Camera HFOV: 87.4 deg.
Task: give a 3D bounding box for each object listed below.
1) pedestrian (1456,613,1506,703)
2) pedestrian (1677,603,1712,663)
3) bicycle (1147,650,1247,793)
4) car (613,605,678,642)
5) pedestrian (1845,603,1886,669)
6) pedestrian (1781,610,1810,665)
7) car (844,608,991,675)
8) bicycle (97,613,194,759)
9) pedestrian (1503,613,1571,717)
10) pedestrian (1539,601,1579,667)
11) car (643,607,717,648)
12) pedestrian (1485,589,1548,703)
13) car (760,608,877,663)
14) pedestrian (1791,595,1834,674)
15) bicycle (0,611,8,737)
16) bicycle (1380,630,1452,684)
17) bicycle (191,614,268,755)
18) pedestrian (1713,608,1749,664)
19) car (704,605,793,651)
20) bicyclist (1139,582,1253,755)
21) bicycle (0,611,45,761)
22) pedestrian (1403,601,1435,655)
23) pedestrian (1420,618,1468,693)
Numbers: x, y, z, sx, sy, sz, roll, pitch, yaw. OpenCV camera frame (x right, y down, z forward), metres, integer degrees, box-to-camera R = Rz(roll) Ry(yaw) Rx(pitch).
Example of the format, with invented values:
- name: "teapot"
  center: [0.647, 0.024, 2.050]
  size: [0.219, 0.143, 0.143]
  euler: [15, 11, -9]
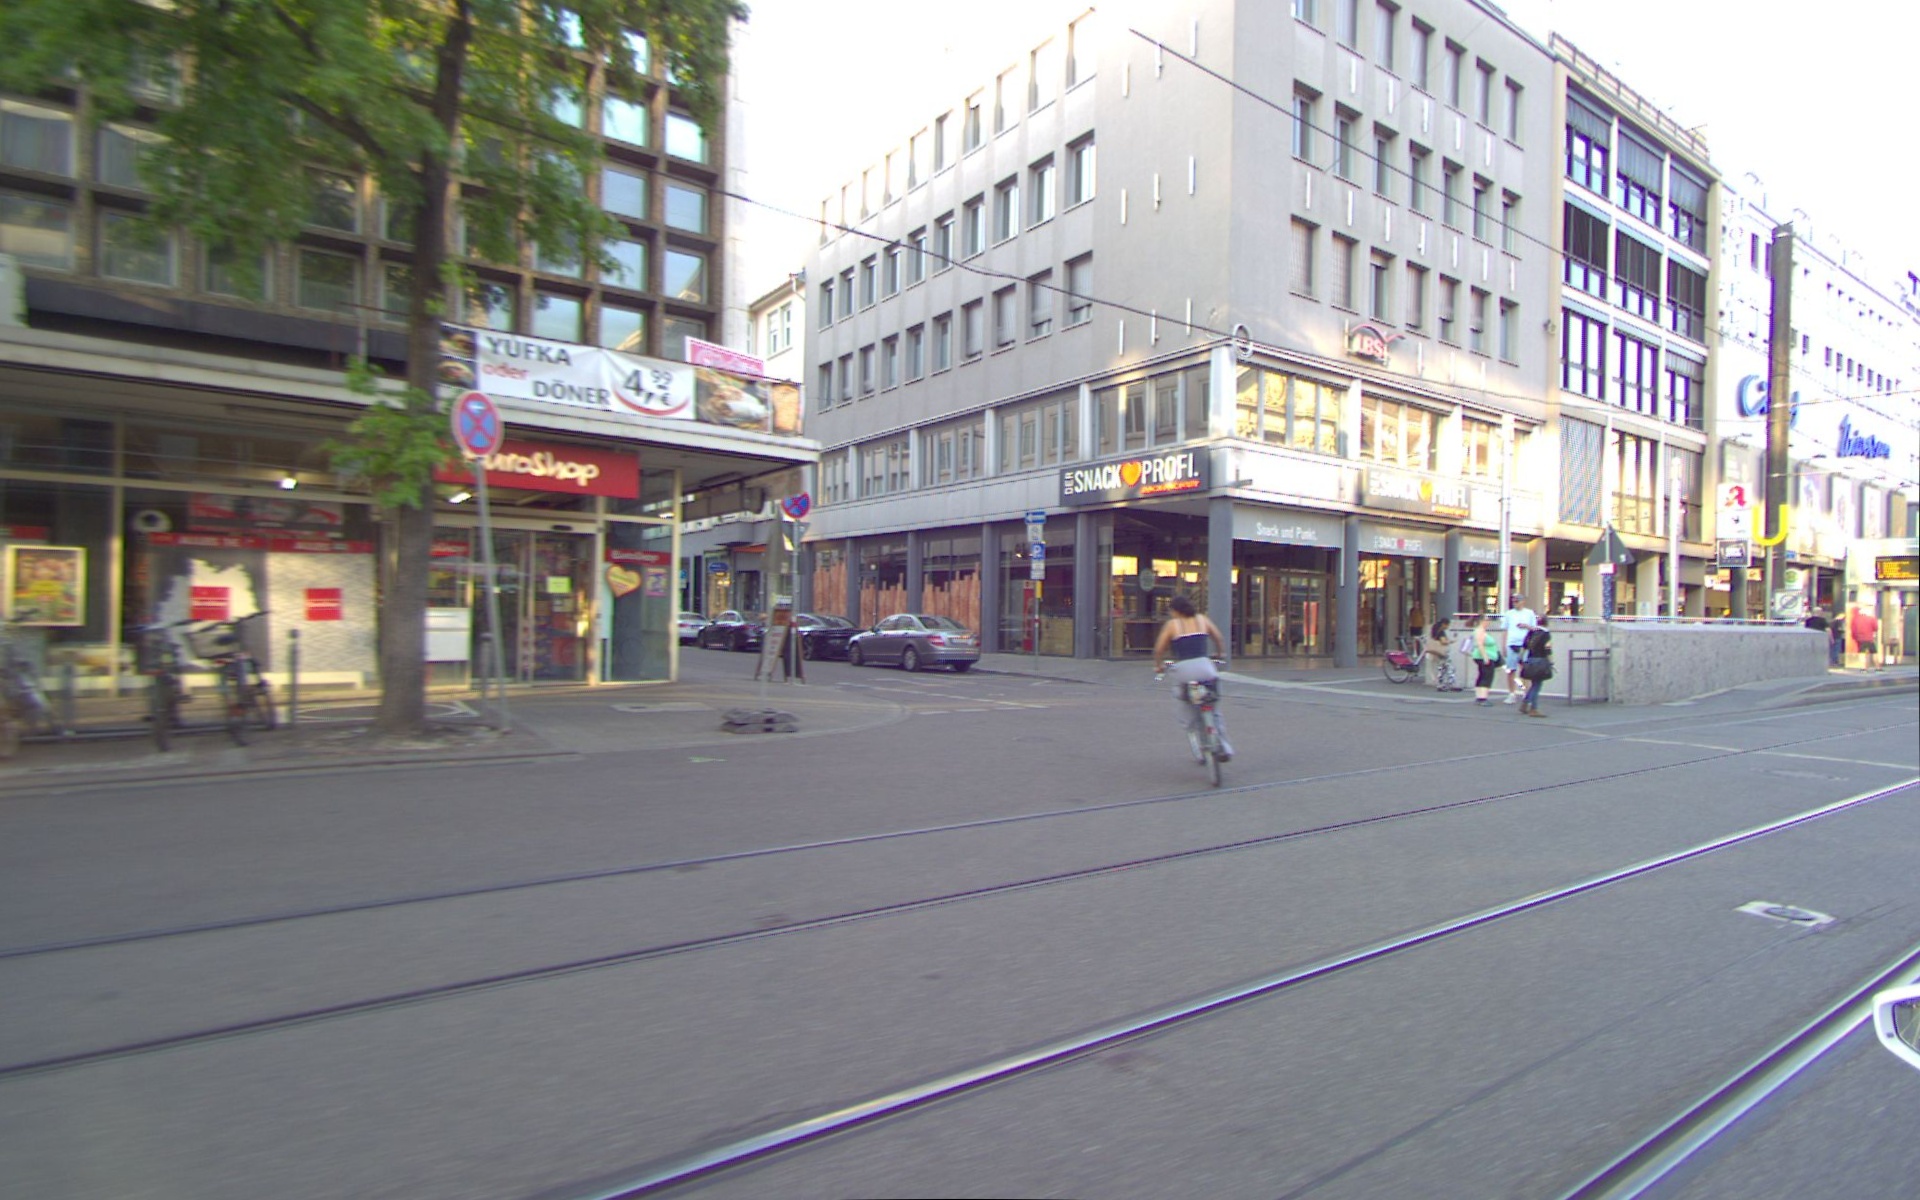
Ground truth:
- name: "pedestrian"
  center: [8.999, 0.983, 17.357]
  size: [0.551, 1.513, 0.598]
  euler: [2, -1, -42]
- name: "pedestrian"
  center: [21.659, 0.965, 29.618]
  size: [0.615, 1.748, 0.605]
  euler: [1, -1, 12]
- name: "bicycle"
  center: [2.199, 1.064, 9.443]
  size: [0.801, 1.087, 2.114]
  euler: [1, 0, 12]
- name: "car"
  center: [-14.284, 1.045, 45.439]
  size: [1.781, 1.530, 3.963]
  euler: [2, -1, -33]
- name: "pedestrian"
  center: [24.122, 0.954, 26.749]
  size: [0.780, 1.720, 0.707]
  euler: [2, -1, -40]
- name: "pedestrian"
  center: [24.921, 1.117, 29.956]
  size: [0.624, 1.609, 0.597]
  euler: [2, -1, -44]
- name: "car"
  center: [-1.175, 1.027, 26.017]
  size: [1.783, 1.530, 4.090]
  euler: [2, -1, -37]
- name: "bicycle"
  center: [-6.953, 0.679, 8.629]
  size: [0.484, 1.059, 1.760]
  euler: [0, 1, -34]
- name: "pedestrian"
  center: [8.941, 0.989, 15.565]
  size: [0.597, 1.562, 0.682]
  euler: [2, -1, -24]
- name: "pedestrian"
  center: [16.246, 0.914, 27.239]
  size: [0.703, 1.748, 0.708]
  euler: [2, -1, -36]
- name: "car"
  center: [-11.527, 1.107, 41.160]
  size: [1.781, 1.530, 3.963]
  euler: [2, -1, -33]
- name: "pedestrian"
  center: [9.817, 0.795, 17.725]
  size: [0.704, 1.951, 0.766]
  euler: [2, -1, -42]
- name: "car"
  center: [-4.405, 1.040, 30.745]
  size: [1.783, 1.530, 4.090]
  euler: [2, -1, -37]
- name: "pedestrian"
  center: [21.453, 0.868, 25.268]
  size: [0.703, 1.950, 0.708]
  euler: [2, -1, -39]
- name: "bicycle"
  center: [-8.008, 0.646, 7.886]
  size: [0.484, 1.059, 1.760]
  euler: [0, 1, -34]
- name: "bicycle"
  center: [10.018, 1.233, 22.050]
  size: [1.778, 1.122, 0.496]
  euler: [0, 0, -30]
- name: "bicycle"
  center: [-6.464, 0.694, 8.931]
  size: [0.484, 1.059, 1.760]
  euler: [0, 1, -34]
- name: "pedestrian"
  center: [22.314, 1.040, 29.083]
  size: [0.615, 1.609, 0.605]
  euler: [1, -1, 13]
- name: "car"
  center: [-7.634, 0.988, 36.040]
  size: [1.781, 1.530, 3.963]
  euler: [2, -1, -33]
- name: "bicyclist"
  center: [2.192, 0.608, 9.395]
  size: [0.980, 1.522, 0.857]
  euler: [1, 0, 12]
- name: "bicycle"
  center: [-7.810, 0.652, 8.022]
  size: [0.484, 1.059, 1.760]
  euler: [0, 1, -34]
- name: "pedestrian"
  center: [15.049, 0.924, 32.937]
  size: [0.703, 1.748, 0.708]
  euler: [2, -1, -36]
- name: "pedestrian"
  center: [9.615, 1.090, 19.963]
  size: [0.671, 1.453, 0.556]
  euler: [1, -1, 3]
